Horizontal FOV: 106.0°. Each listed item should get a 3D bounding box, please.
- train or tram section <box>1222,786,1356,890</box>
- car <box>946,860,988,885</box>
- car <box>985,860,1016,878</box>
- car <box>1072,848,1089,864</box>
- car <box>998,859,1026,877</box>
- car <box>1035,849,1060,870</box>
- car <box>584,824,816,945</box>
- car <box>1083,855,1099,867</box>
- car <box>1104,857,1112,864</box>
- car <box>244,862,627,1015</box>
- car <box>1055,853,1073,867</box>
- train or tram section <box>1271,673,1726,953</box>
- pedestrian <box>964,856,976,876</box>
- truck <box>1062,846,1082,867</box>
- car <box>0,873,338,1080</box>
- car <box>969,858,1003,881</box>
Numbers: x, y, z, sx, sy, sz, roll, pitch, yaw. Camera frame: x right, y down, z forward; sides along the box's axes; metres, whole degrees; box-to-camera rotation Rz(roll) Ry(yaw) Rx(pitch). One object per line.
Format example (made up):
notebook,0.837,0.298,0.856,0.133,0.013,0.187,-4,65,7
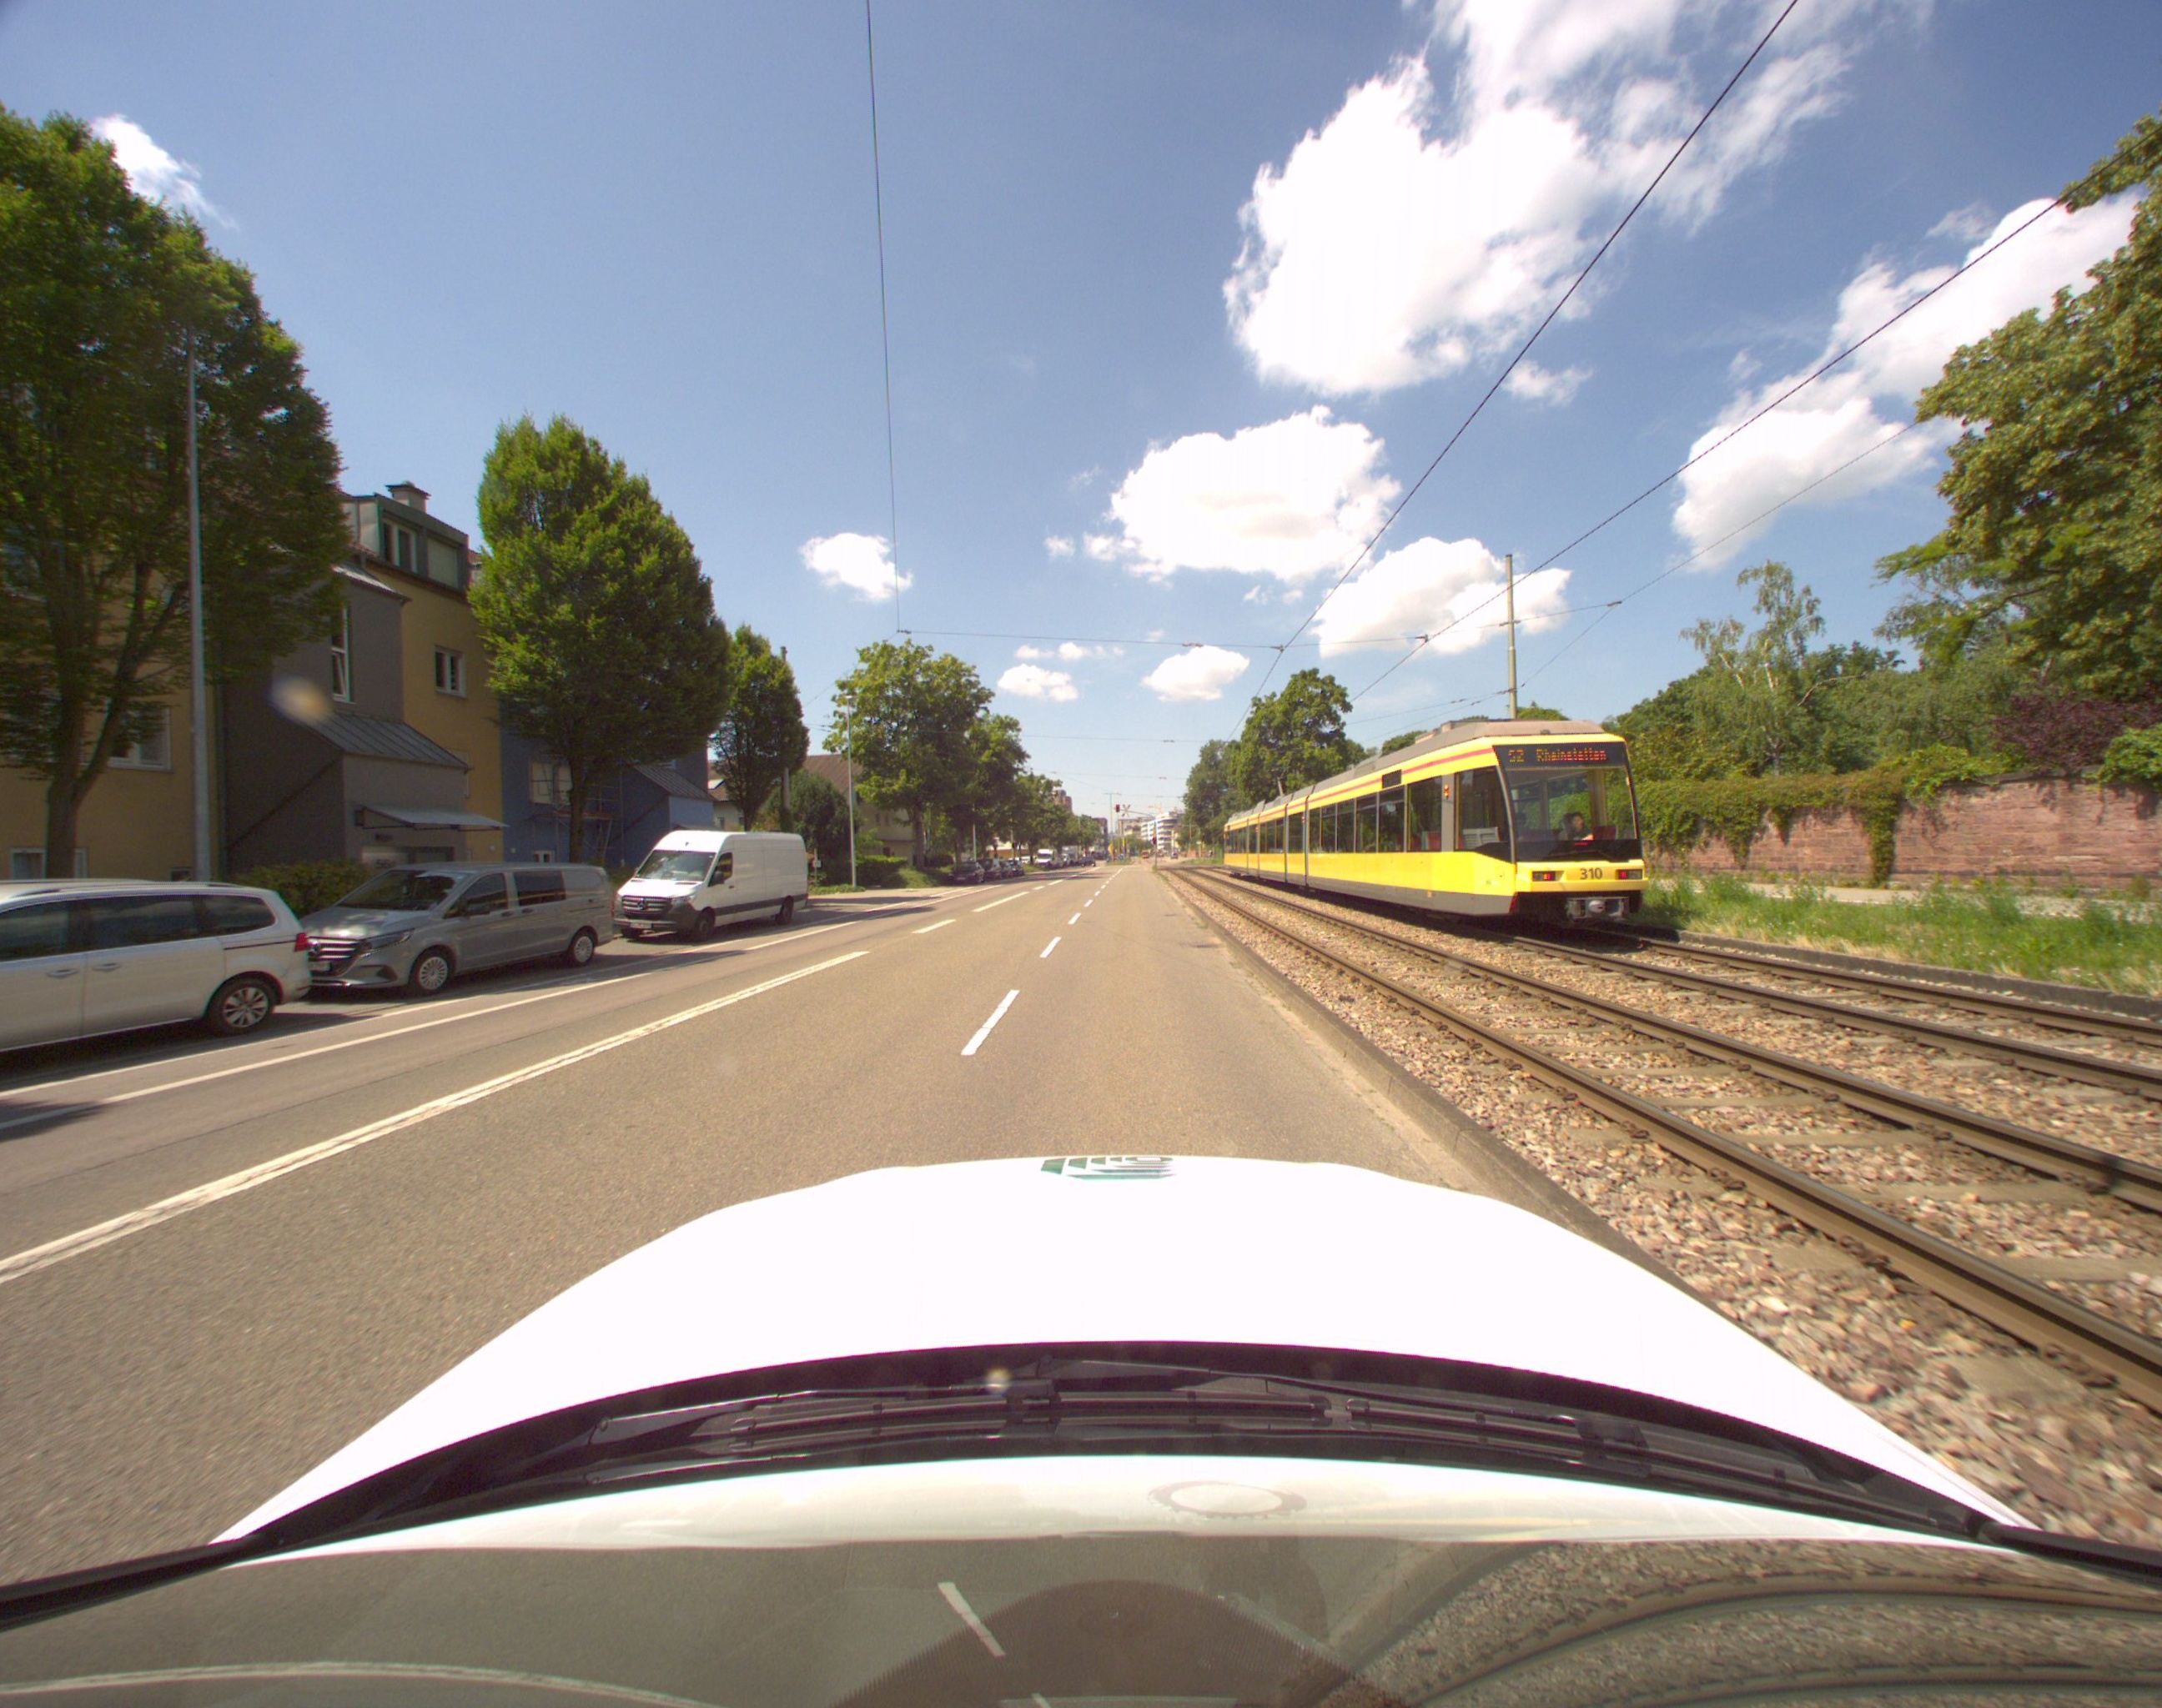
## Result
train or tram section,9.211,-0.588,39.353,2.929,3.692,20.311,-1,0,5
car,-7.237,1.175,52.299,1.767,1.455,4.807,-2,0,3
car,-6.429,1.212,65.443,1.767,1.373,4.700,0,0,3
car,-0.086,0.357,143.183,2.145,2.639,5.622,-2,0,7
car,-5.932,1.205,69.973,1.767,1.481,4.052,0,0,4
car,-4.076,0.683,99.949,2.145,2.487,6.204,-1,0,7
car,-9.713,0.672,21.802,2.313,2.651,7.044,2,0,5
car,1.328,0.909,107.233,1.767,1.460,4.198,-3,0,3
car,5.996,1.495,179.403,1.671,1.398,4.008,-4,0,2
car,-10.103,1.159,13.534,1.799,1.895,5.367,-2,0,3
car,-2.450,0.833,119.811,2.051,1.898,4.877,-2,0,5
train or tram section,7.716,-0.545,20.087,2.930,3.692,18.408,-1,0,4
pedestrian,-10.650,1.129,77.938,0.971,1.823,0.795,-2,-1,1
truck,-1.419,0.368,128.017,2.145,3.210,7.095,1,0,7
car,-10.362,1.140,7.830,1.709,1.752,4.908,-2,0,3
car,-6.932,1.109,59.963,1.767,1.604,4.640,-1,0,3
